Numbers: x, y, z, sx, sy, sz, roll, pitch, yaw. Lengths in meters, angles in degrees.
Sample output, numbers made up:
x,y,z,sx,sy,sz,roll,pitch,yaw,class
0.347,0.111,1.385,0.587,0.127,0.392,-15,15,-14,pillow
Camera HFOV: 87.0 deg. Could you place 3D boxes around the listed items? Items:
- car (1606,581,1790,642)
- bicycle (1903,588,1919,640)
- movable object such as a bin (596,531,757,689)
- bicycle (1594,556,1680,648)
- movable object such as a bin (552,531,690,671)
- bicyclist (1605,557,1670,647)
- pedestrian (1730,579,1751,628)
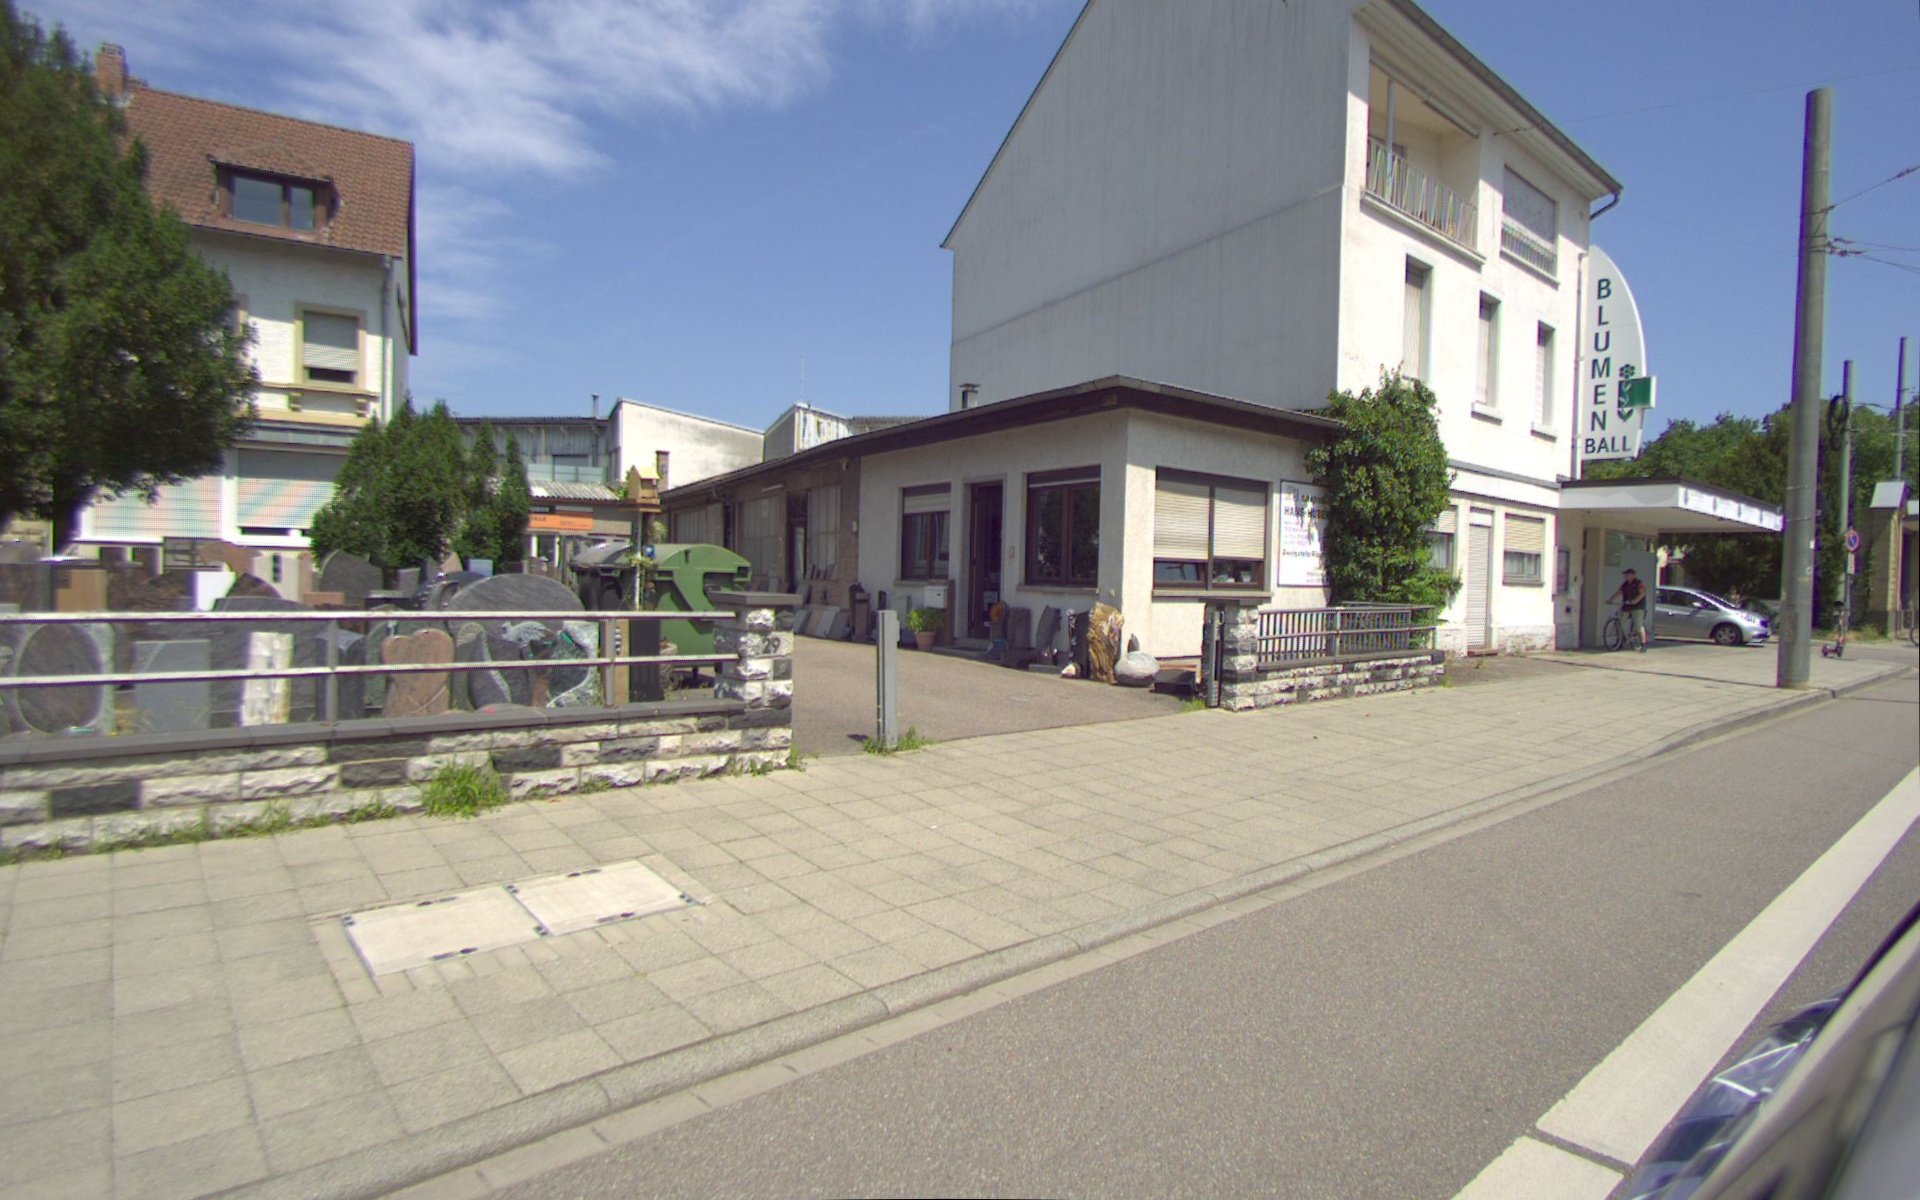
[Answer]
x,y,z,sx,sy,sz,roll,pitch,yaw,class
21.372,0.275,29.438,1.667,1.536,3.998,0,2,-38,car
31.036,0.531,31.561,2.024,1.608,0.886,6,4,18,bicycle
-2.954,0.066,10.503,1.131,1.499,1.390,0,2,-40,movable object such as a bin
15.048,0.051,22.479,1.920,1.923,0.802,1,3,-34,bicycle
-3.945,-0.016,11.731,1.130,1.499,1.391,0,1,-37,movable object such as a bin
15.041,0.039,22.464,0.870,1.897,0.792,1,3,-34,bicyclist
25.769,0.117,33.425,0.533,1.618,0.420,0,0,36,pedestrian
